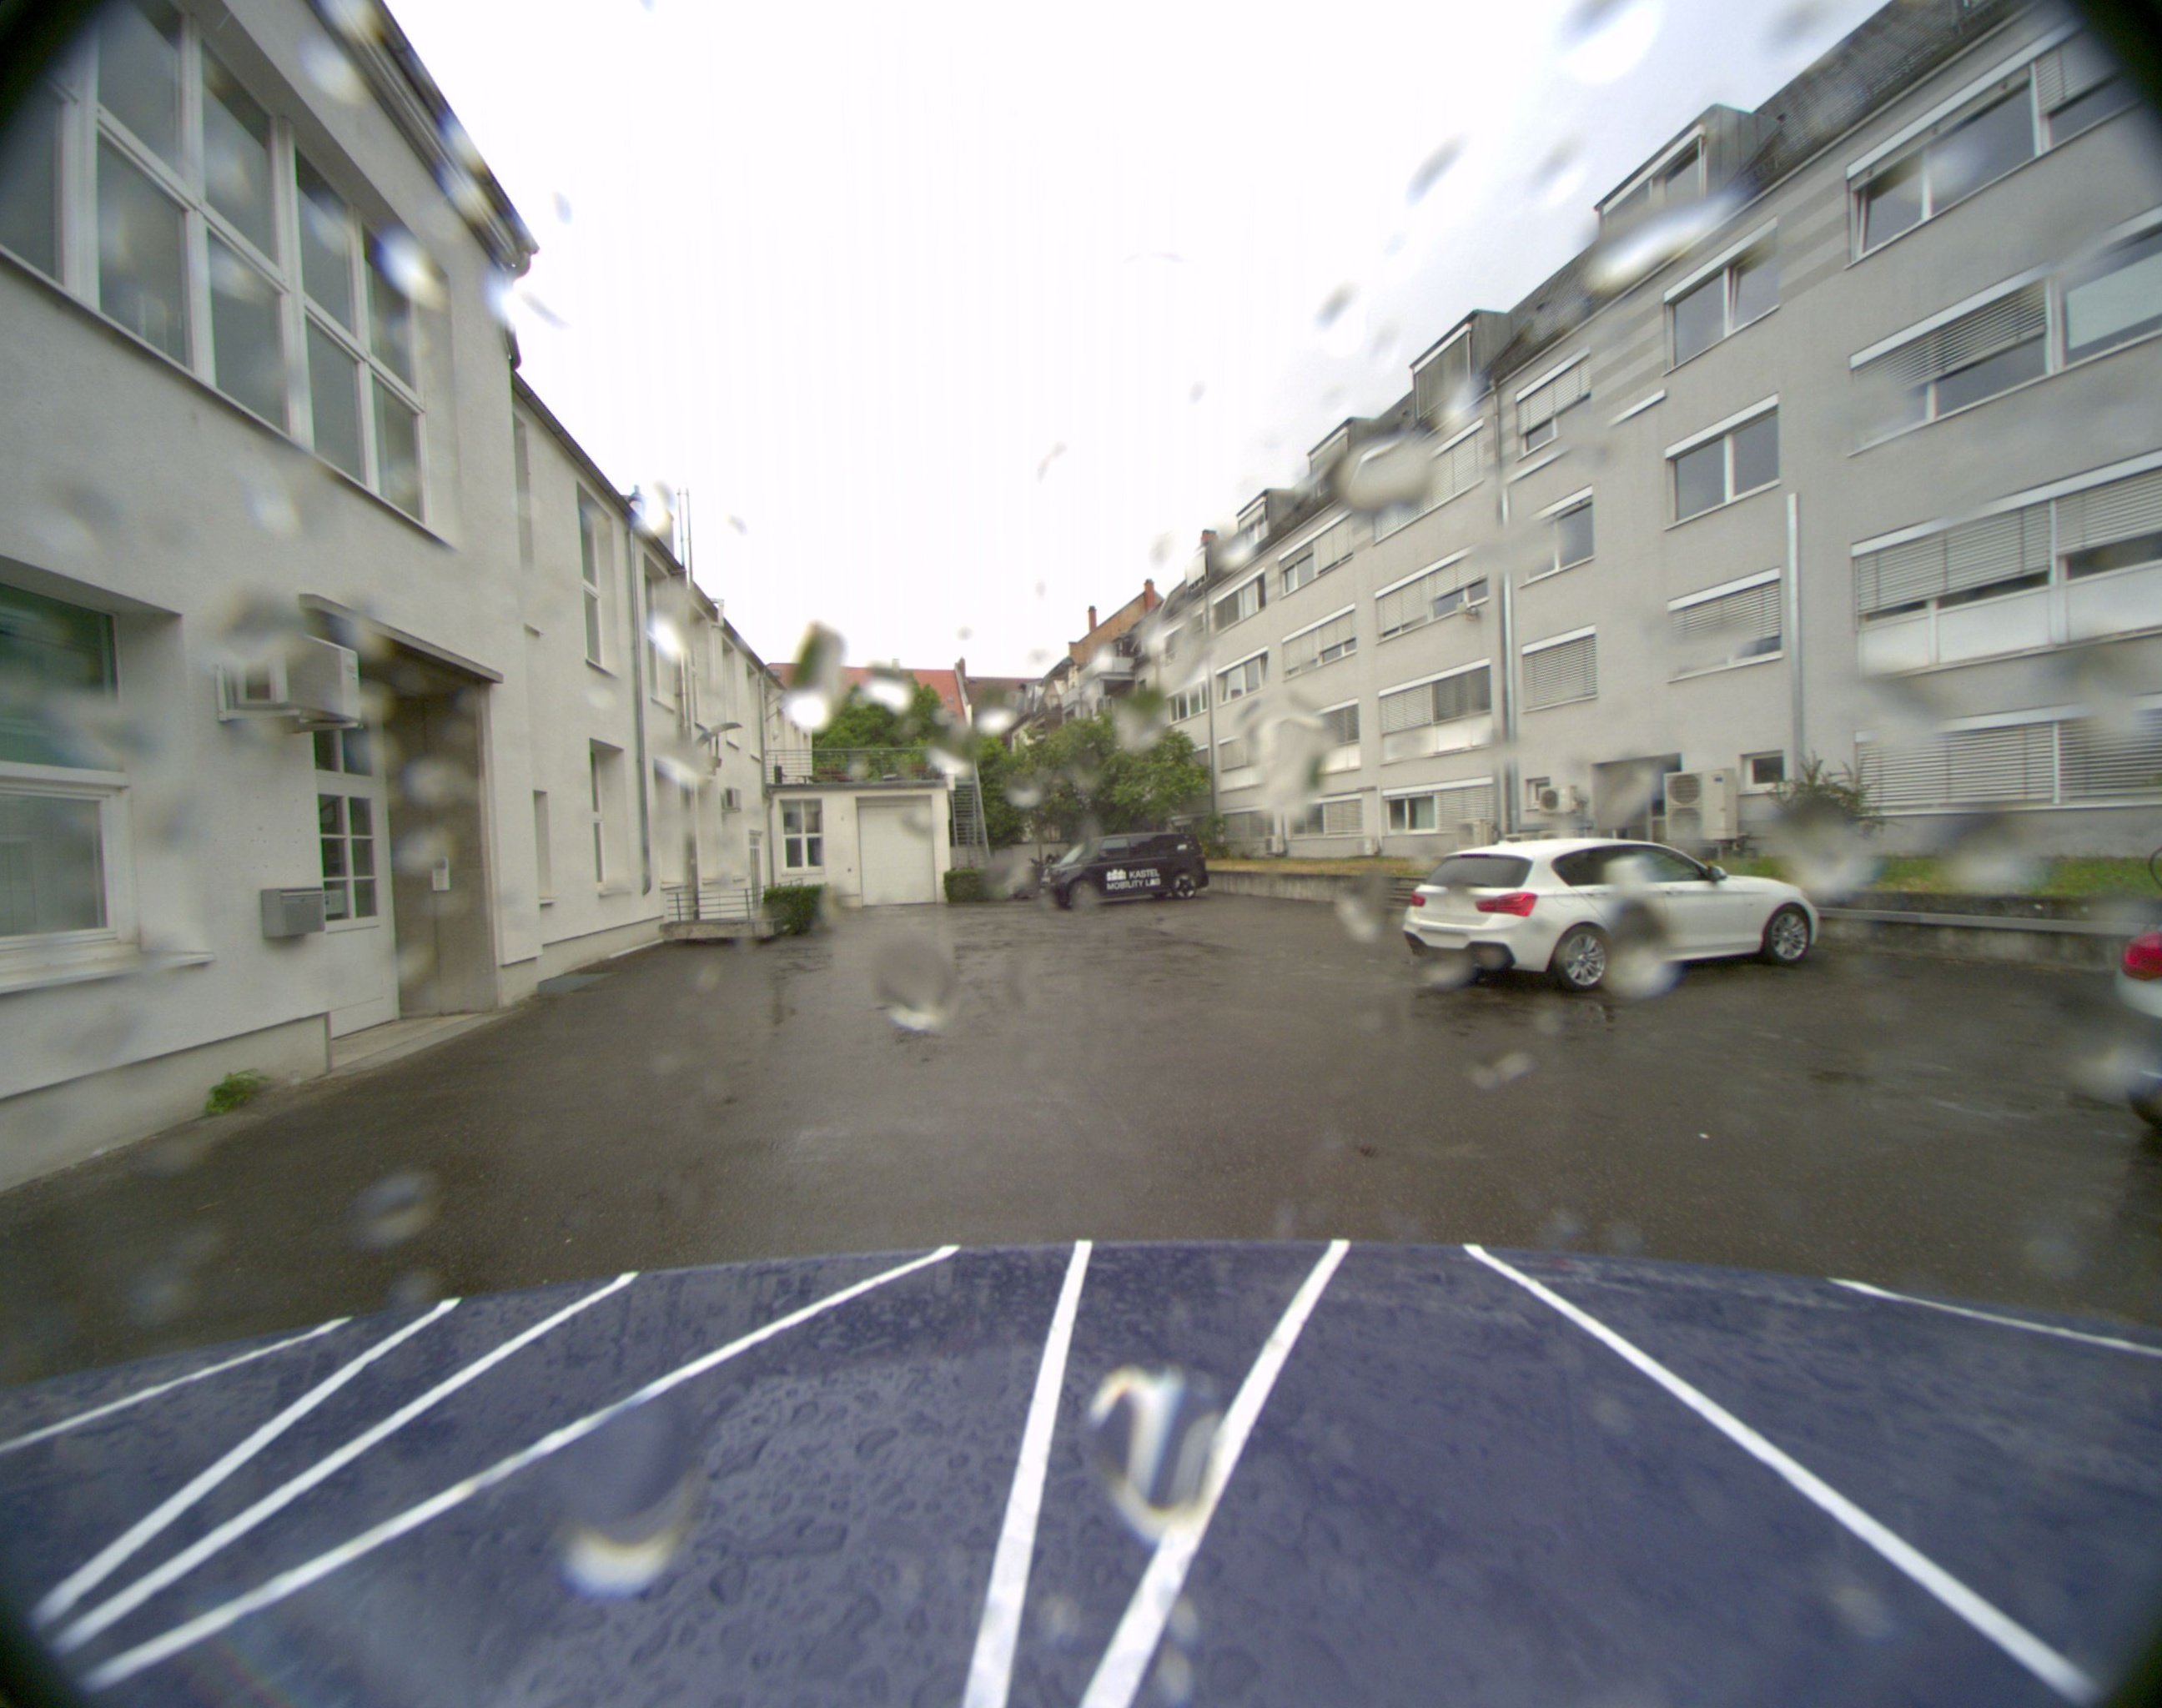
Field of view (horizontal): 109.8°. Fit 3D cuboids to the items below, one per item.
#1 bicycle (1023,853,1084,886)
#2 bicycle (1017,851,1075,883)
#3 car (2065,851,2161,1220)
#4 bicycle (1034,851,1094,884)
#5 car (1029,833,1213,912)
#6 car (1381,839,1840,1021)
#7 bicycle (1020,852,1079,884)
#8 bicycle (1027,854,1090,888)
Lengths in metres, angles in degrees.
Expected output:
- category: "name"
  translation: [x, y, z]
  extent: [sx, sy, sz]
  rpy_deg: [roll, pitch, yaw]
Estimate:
- category: "bicycle"
  translation: [-1.097, 0.611, 30.239]
  extent: [2.321, 1.180, 0.642]
  rpy_deg: [-3, 4, -11]
- category: "bicycle"
  translation: [-1.468, 0.530, 31.997]
  extent: [2.321, 1.180, 0.642]
  rpy_deg: [-3, 4, -11]
- category: "car"
  translation: [6.565, 0.649, 3.017]
  extent: [4.181, 1.475, 1.820]
  rpy_deg: [-3, 0, -16]
- category: "bicycle"
  translation: [-0.688, 0.554, 30.997]
  extent: [2.321, 1.180, 0.642]
  rpy_deg: [-3, 4, -11]
- category: "car"
  translation: [1.087, 0.478, 21.188]
  extent: [4.634, 1.826, 1.985]
  rpy_deg: [-3, 0, -19]
- category: "car"
  translation: [5.534, 0.647, 8.041]
  extent: [4.155, 1.425, 1.750]
  rpy_deg: [-3, 2, -16]
- category: "bicycle"
  translation: [-1.294, 0.557, 31.389]
  extent: [2.321, 1.180, 0.642]
  rpy_deg: [-3, 4, -11]
- category: "bicycle"
  translation: [-0.860, 0.644, 29.475]
  extent: [2.321, 1.180, 0.642]
  rpy_deg: [-3, 4, -11]
